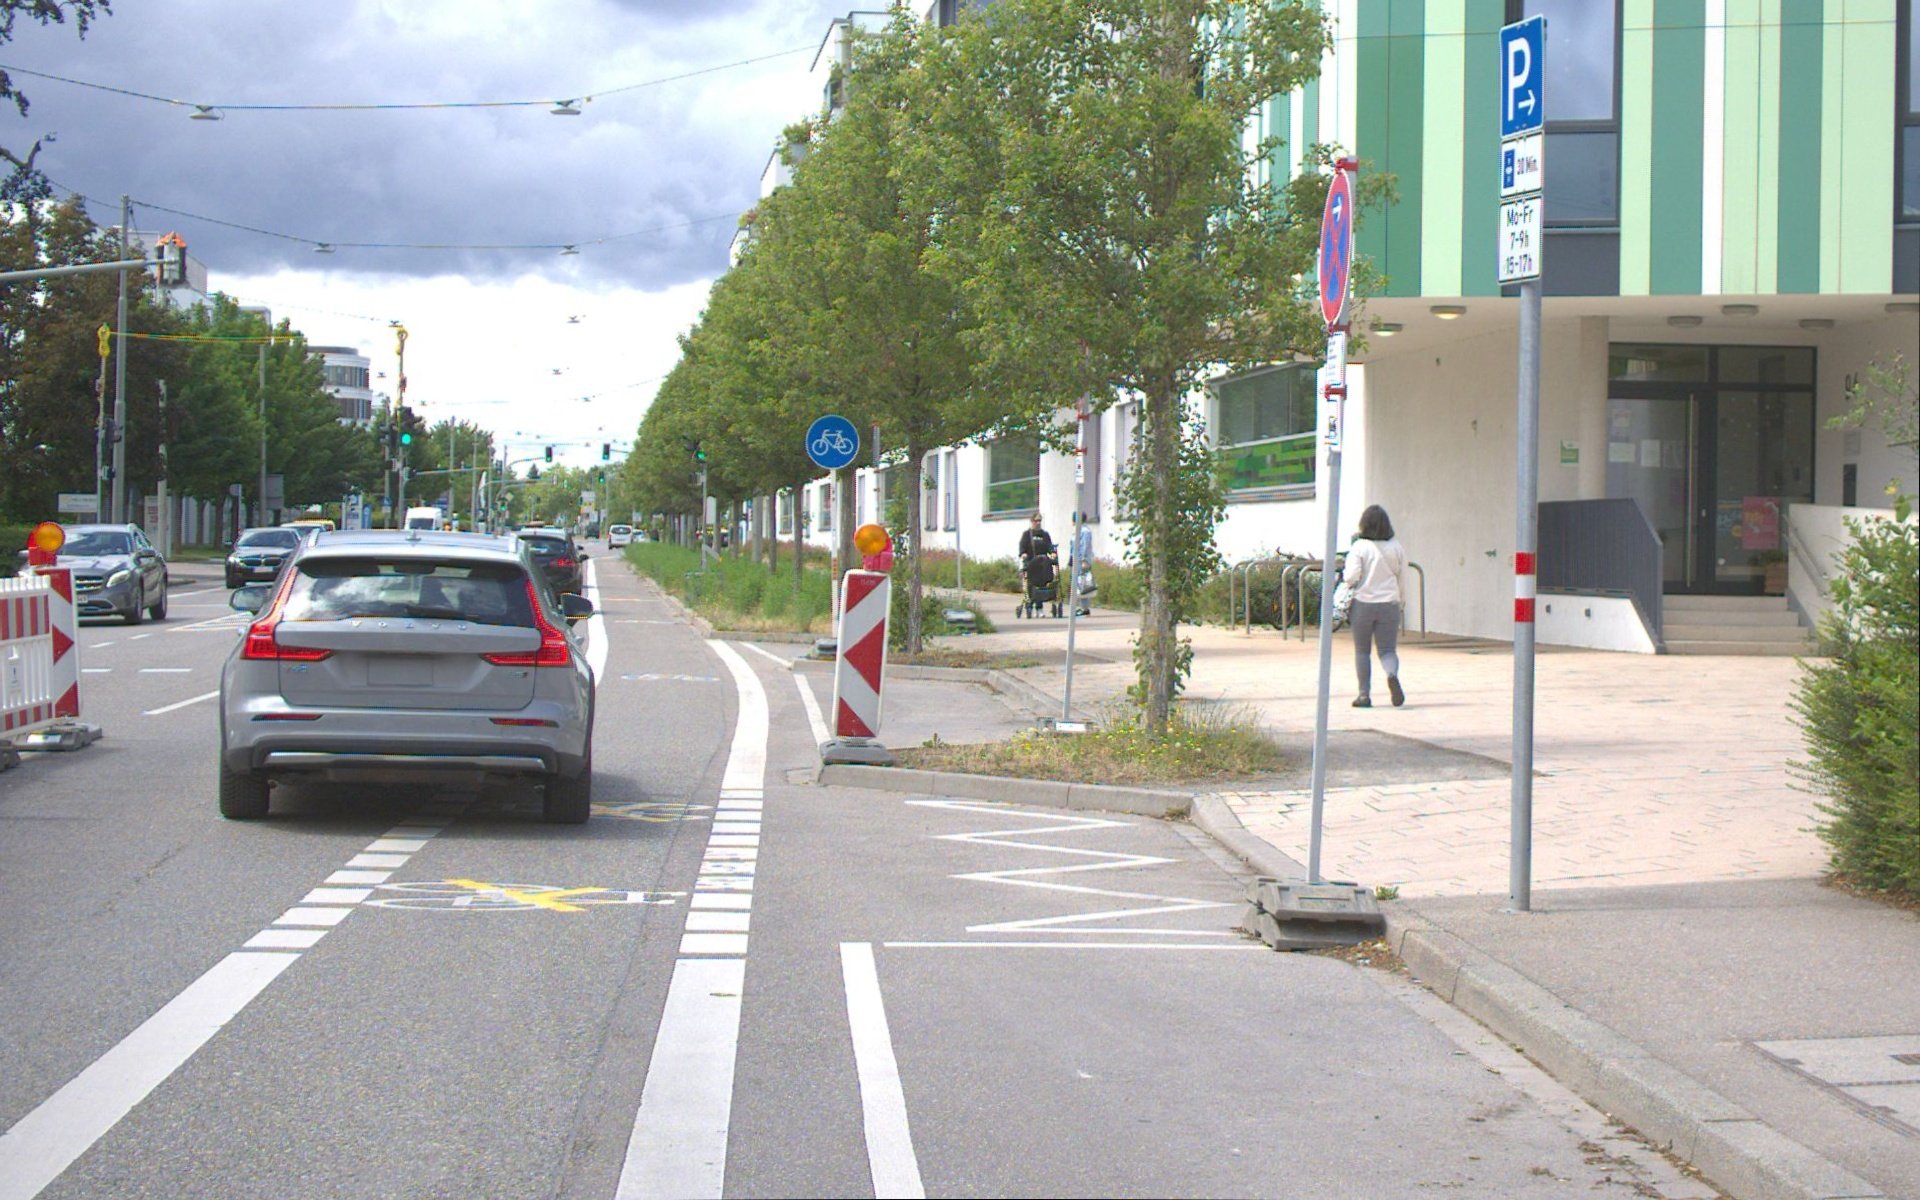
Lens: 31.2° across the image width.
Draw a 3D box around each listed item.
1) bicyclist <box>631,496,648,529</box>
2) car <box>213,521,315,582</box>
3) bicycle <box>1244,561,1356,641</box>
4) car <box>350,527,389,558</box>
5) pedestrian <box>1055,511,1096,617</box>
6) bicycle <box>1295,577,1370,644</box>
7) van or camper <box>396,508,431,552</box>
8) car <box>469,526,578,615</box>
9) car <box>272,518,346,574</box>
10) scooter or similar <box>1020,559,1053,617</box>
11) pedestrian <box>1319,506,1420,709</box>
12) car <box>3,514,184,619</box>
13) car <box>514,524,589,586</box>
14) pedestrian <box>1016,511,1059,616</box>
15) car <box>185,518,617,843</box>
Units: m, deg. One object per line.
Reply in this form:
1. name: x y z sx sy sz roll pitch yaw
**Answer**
1. bicyclist: -19.812 -5.399 212.495 1.014 2.007 1.131 0 1 -7
2. car: -16.884 -1.194 83.622 1.993 1.395 4.812 -1 1 -6
3. bicycle: 4.441 0.010 44.901 1.464 1.042 0.307 0 1 -18
4. car: -29.622 -2.914 172.537 1.660 1.510 4.001 1 1 -7
5. pedestrian: 1.821 -0.569 54.086 0.550 1.649 0.607 0 1 -7
6. bicycle: 4.751 0.131 43.851 1.022 0.839 0.307 -1 1 -39
7. van or camper: -34.016 -4.336 214.015 1.993 2.724 6.054 0 1 -11
8. car: -7.905 -0.556 62.303 1.854 1.508 4.001 2 1 -7
9. car: -18.448 -1.550 97.548 1.749 1.550 4.403 0 1 -6
10. scooter or similar: 1.200 -0.190 54.135 0.421 0.902 0.682 0 1 -7
11. pedestrian: 3.161 0.052 26.574 0.581 1.546 0.869 0 1 -6
12. car: -12.976 -0.515 51.700 1.854 1.508 4.001 0 1 -2
13. car: -10.608 -1.176 89.219 1.844 1.508 4.001 2 1 -7
14. pedestrian: 1.226 -0.582 54.641 0.605 1.649 0.552 0 1 -7
15. car: -2.863 0.348 18.408 1.854 1.508 4.001 2 1 -3
